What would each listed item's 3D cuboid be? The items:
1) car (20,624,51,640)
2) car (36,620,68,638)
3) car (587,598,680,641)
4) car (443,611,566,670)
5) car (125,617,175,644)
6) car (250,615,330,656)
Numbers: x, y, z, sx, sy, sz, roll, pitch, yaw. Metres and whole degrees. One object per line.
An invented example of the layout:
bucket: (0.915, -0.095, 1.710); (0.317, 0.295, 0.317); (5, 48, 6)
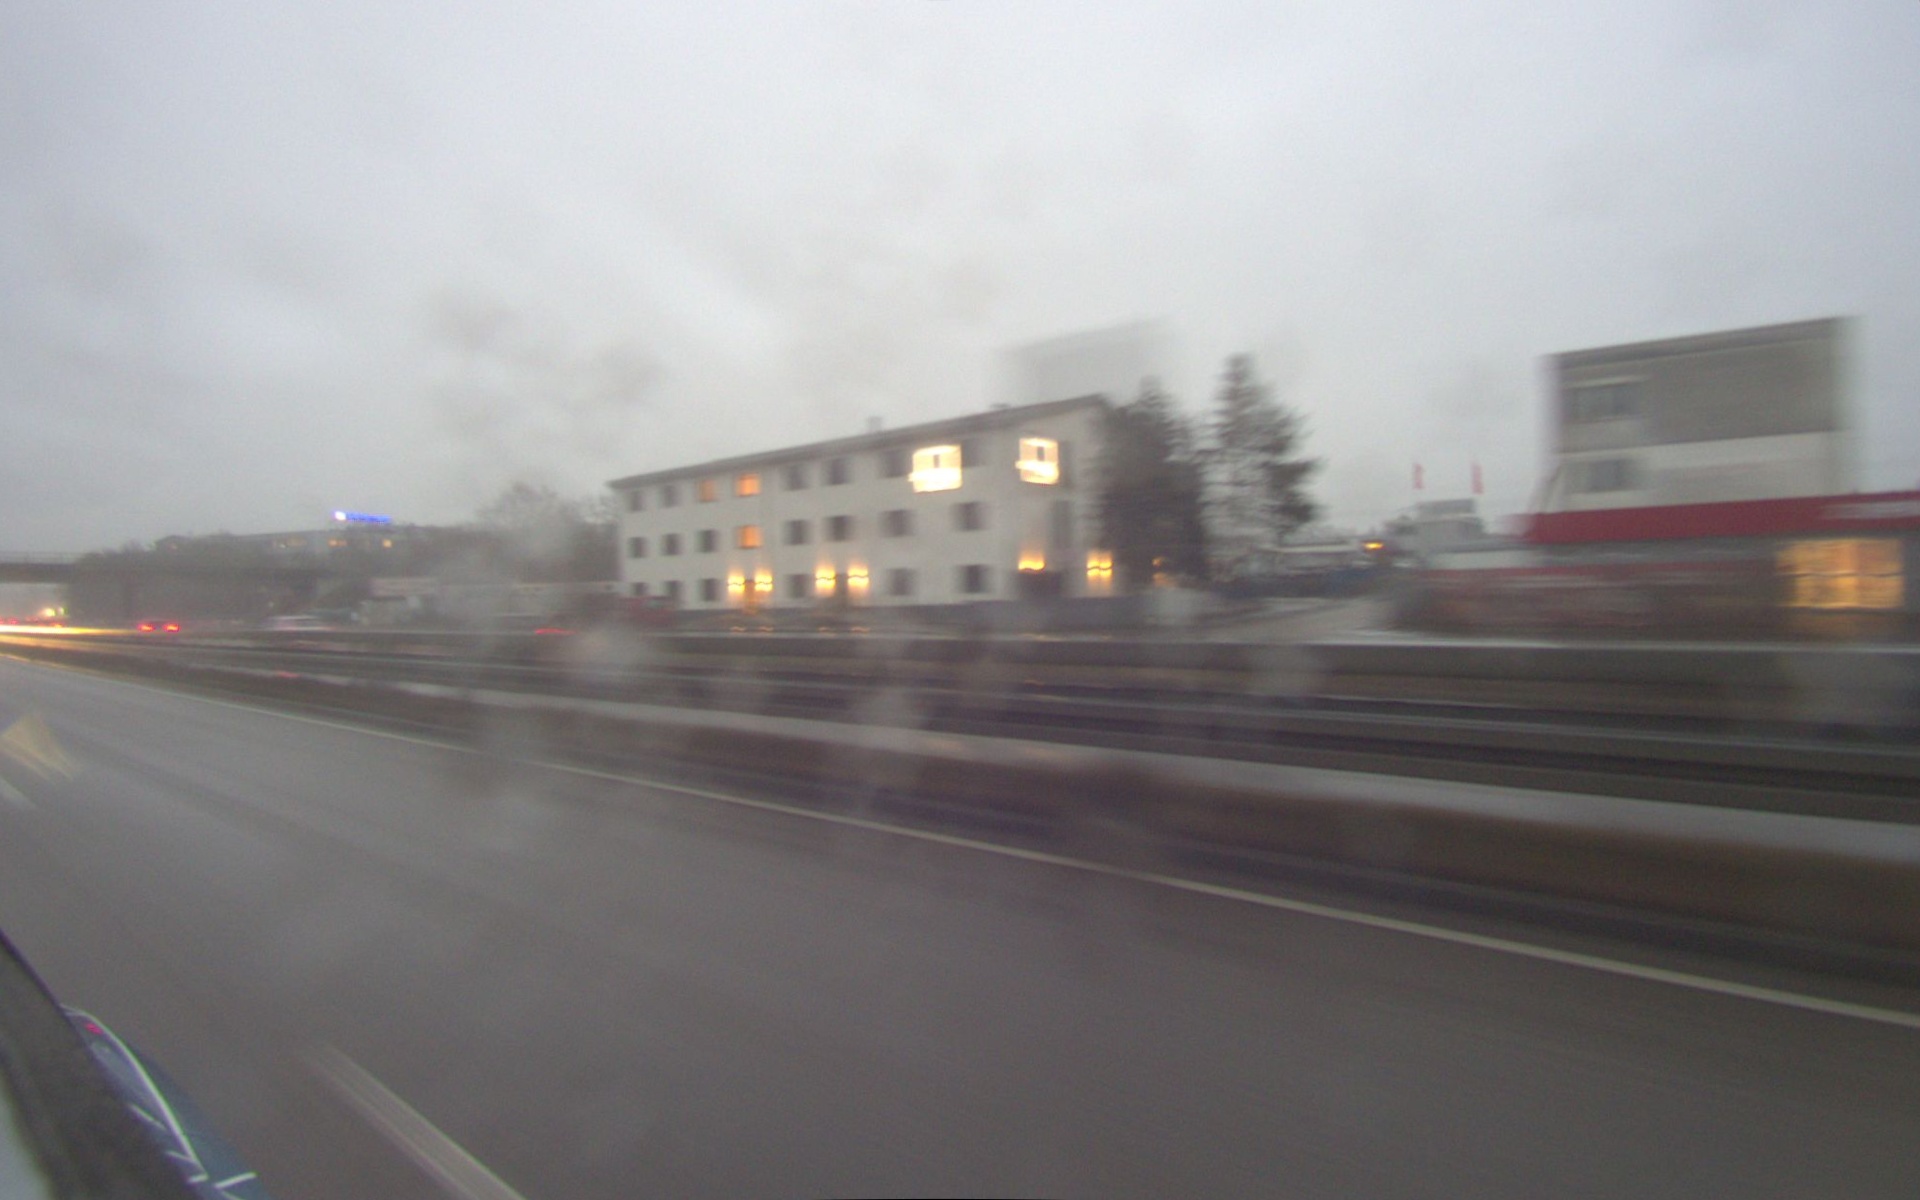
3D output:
car: (-74.557, 2.543, 81.608); (3.797, 1.196, 1.443); (-1, 1, 41)
car: (-83.244, 2.637, 92.786); (3.999, 1.603, 1.705); (-1, 1, 42)
car: (-16.679, 1.011, 51.545); (4.956, 2.029, 2.134); (-1, 0, 39)
car: (-13.173, 1.119, 29.151); (3.998, 1.519, 1.718); (-1, 0, 41)
car: (-49.736, 1.847, 62.132); (3.998, 1.519, 1.718); (-1, 0, 41)
car: (-27.140, 1.422, 40.937); (3.998, 1.519, 1.718); (-1, 0, 41)
